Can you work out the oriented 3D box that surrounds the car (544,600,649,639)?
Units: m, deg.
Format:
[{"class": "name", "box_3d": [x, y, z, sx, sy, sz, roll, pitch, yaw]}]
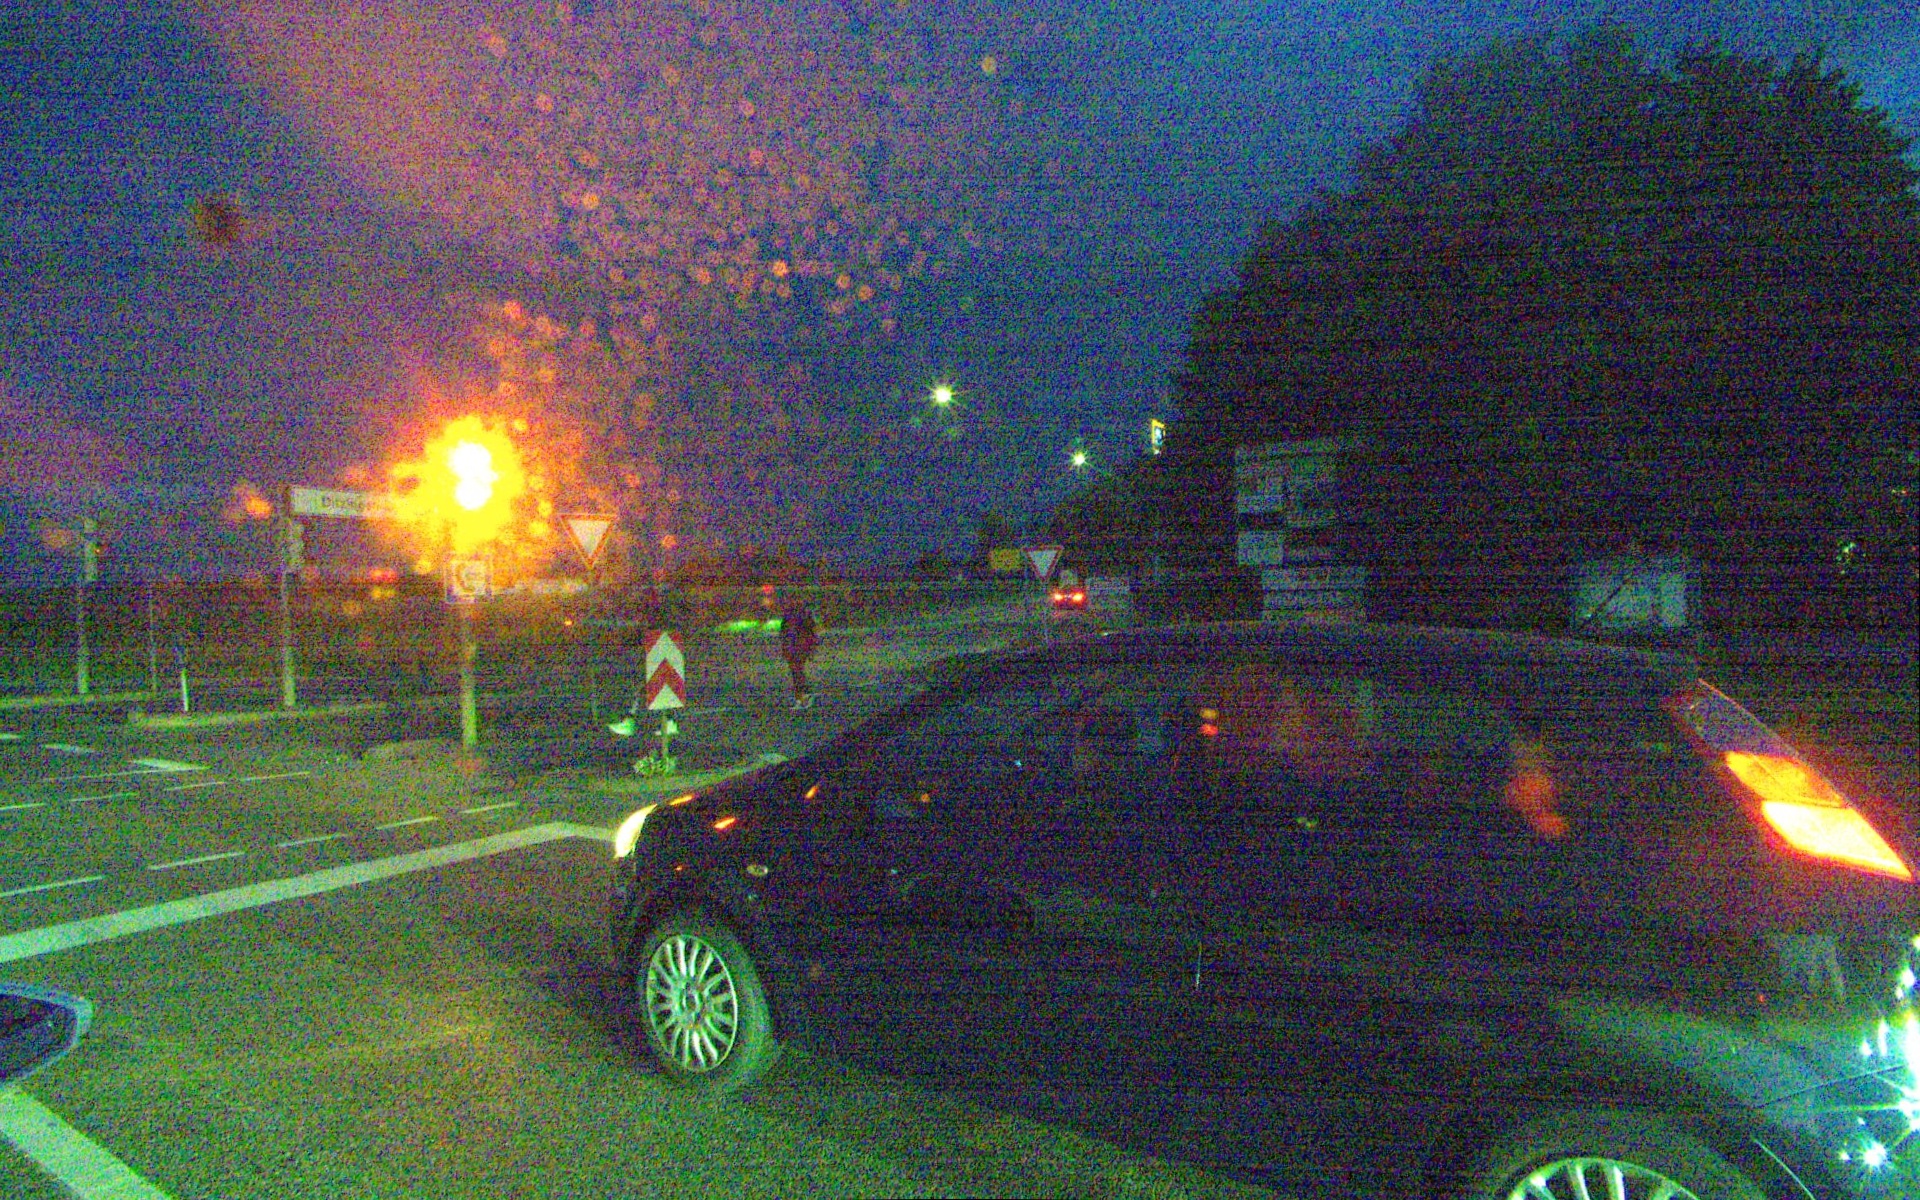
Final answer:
[{"class": "car", "box_3d": [-16.706, 0.860, 46.134, 4.402, 1.686, 1.994, -1, 1, -21]}]

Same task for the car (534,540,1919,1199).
[{"class": "car", "box_3d": [0.466, 0.743, 3.235, 3.663, 1.557, 1.655, -2, -2, 33]}]

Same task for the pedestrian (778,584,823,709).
[{"class": "pedestrian", "box_3d": [-2.667, 0.775, 16.822, 0.700, 2.039, 0.781, 0, -1, -6]}]

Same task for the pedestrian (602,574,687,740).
[{"class": "pedestrian", "box_3d": [-4.039, 0.720, 12.842, 0.704, 2.039, 0.776, -1, -1, 33]}]

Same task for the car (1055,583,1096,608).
[{"class": "car", "box_3d": [7.054, -0.274, 60.853, 1.777, 1.462, 3.992, -1, 0, 18]}]
